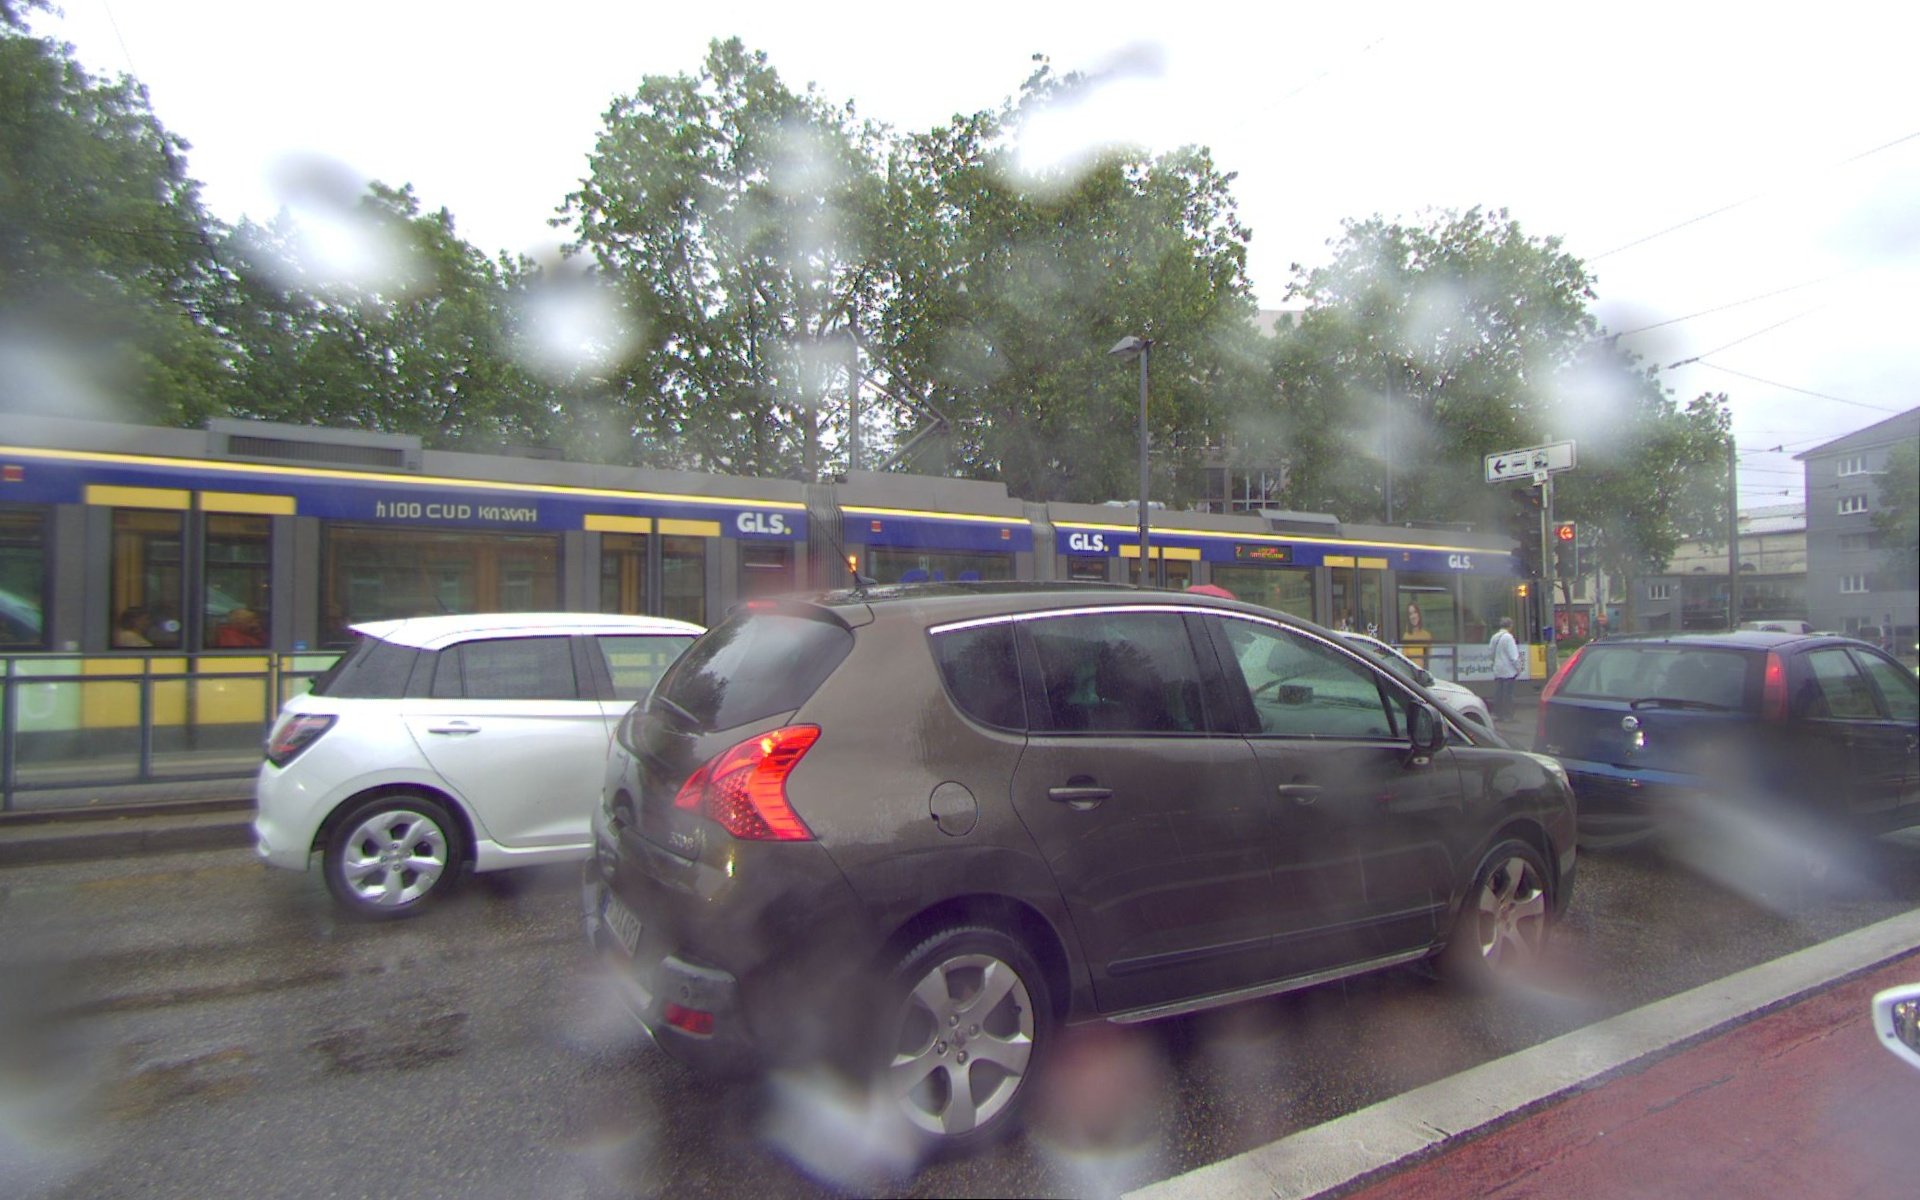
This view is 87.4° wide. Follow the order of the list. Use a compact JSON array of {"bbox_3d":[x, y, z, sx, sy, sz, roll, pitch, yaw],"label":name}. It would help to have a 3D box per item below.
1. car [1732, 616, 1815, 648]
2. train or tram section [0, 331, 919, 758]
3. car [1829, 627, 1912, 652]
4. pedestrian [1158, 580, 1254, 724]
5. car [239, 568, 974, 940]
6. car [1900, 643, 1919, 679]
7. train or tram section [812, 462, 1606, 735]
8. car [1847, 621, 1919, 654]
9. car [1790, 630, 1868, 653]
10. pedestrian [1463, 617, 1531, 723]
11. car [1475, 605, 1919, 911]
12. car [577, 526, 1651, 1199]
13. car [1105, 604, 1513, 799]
[{"bbox_3d":[59.640,2.323,73.651,4.698,2.228,1.998,0,1,-6],"label":"car"},{"bbox_3d":[-7.221,-0.441,10.890,13.502,3.559,3.495,1,0,-31],"label":"train or tram section"},{"bbox_3d":[61.896,2.674,68.292,3.922,1.550,1.999,0,0,-3],"label":"car"},{"bbox_3d":[3.168,0.664,12.967,0.888,1.769,0.762,0,-3,-30],"label":"pedestrian"},{"bbox_3d":[-1.952,0.740,6.139,3.791,1.650,1.637,1,-2,-30],"label":"car"},{"bbox_3d":[46.533,2.845,46.952,3.931,1.629,1.952,0,0,-13],"label":"car"},{"bbox_3d":[5.248,0.136,17.894,15.311,3.458,3.526,1,0,-28],"label":"train or tram section"},{"bbox_3d":[60.853,2.429,65.756,3.923,2.040,1.999,1,0,-3],"label":"car"},{"bbox_3d":[61.314,2.888,70.910,3.922,1.516,1.960,0,0,-3],"label":"car"},{"bbox_3d":[8.500,1.093,15.908,0.731,1.628,0.623,1,0,-23],"label":"pedestrian"},{"bbox_3d":[5.538,0.878,6.994,3.776,1.599,1.719,1,-1,-30],"label":"car"},{"bbox_3d":[0.770,0.724,4.114,4.124,1.690,1.825,1,-1,-30],"label":"car"},{"bbox_3d":[3.355,0.841,9.507,3.737,1.514,1.621,1,-1,-30],"label":"car"}]
